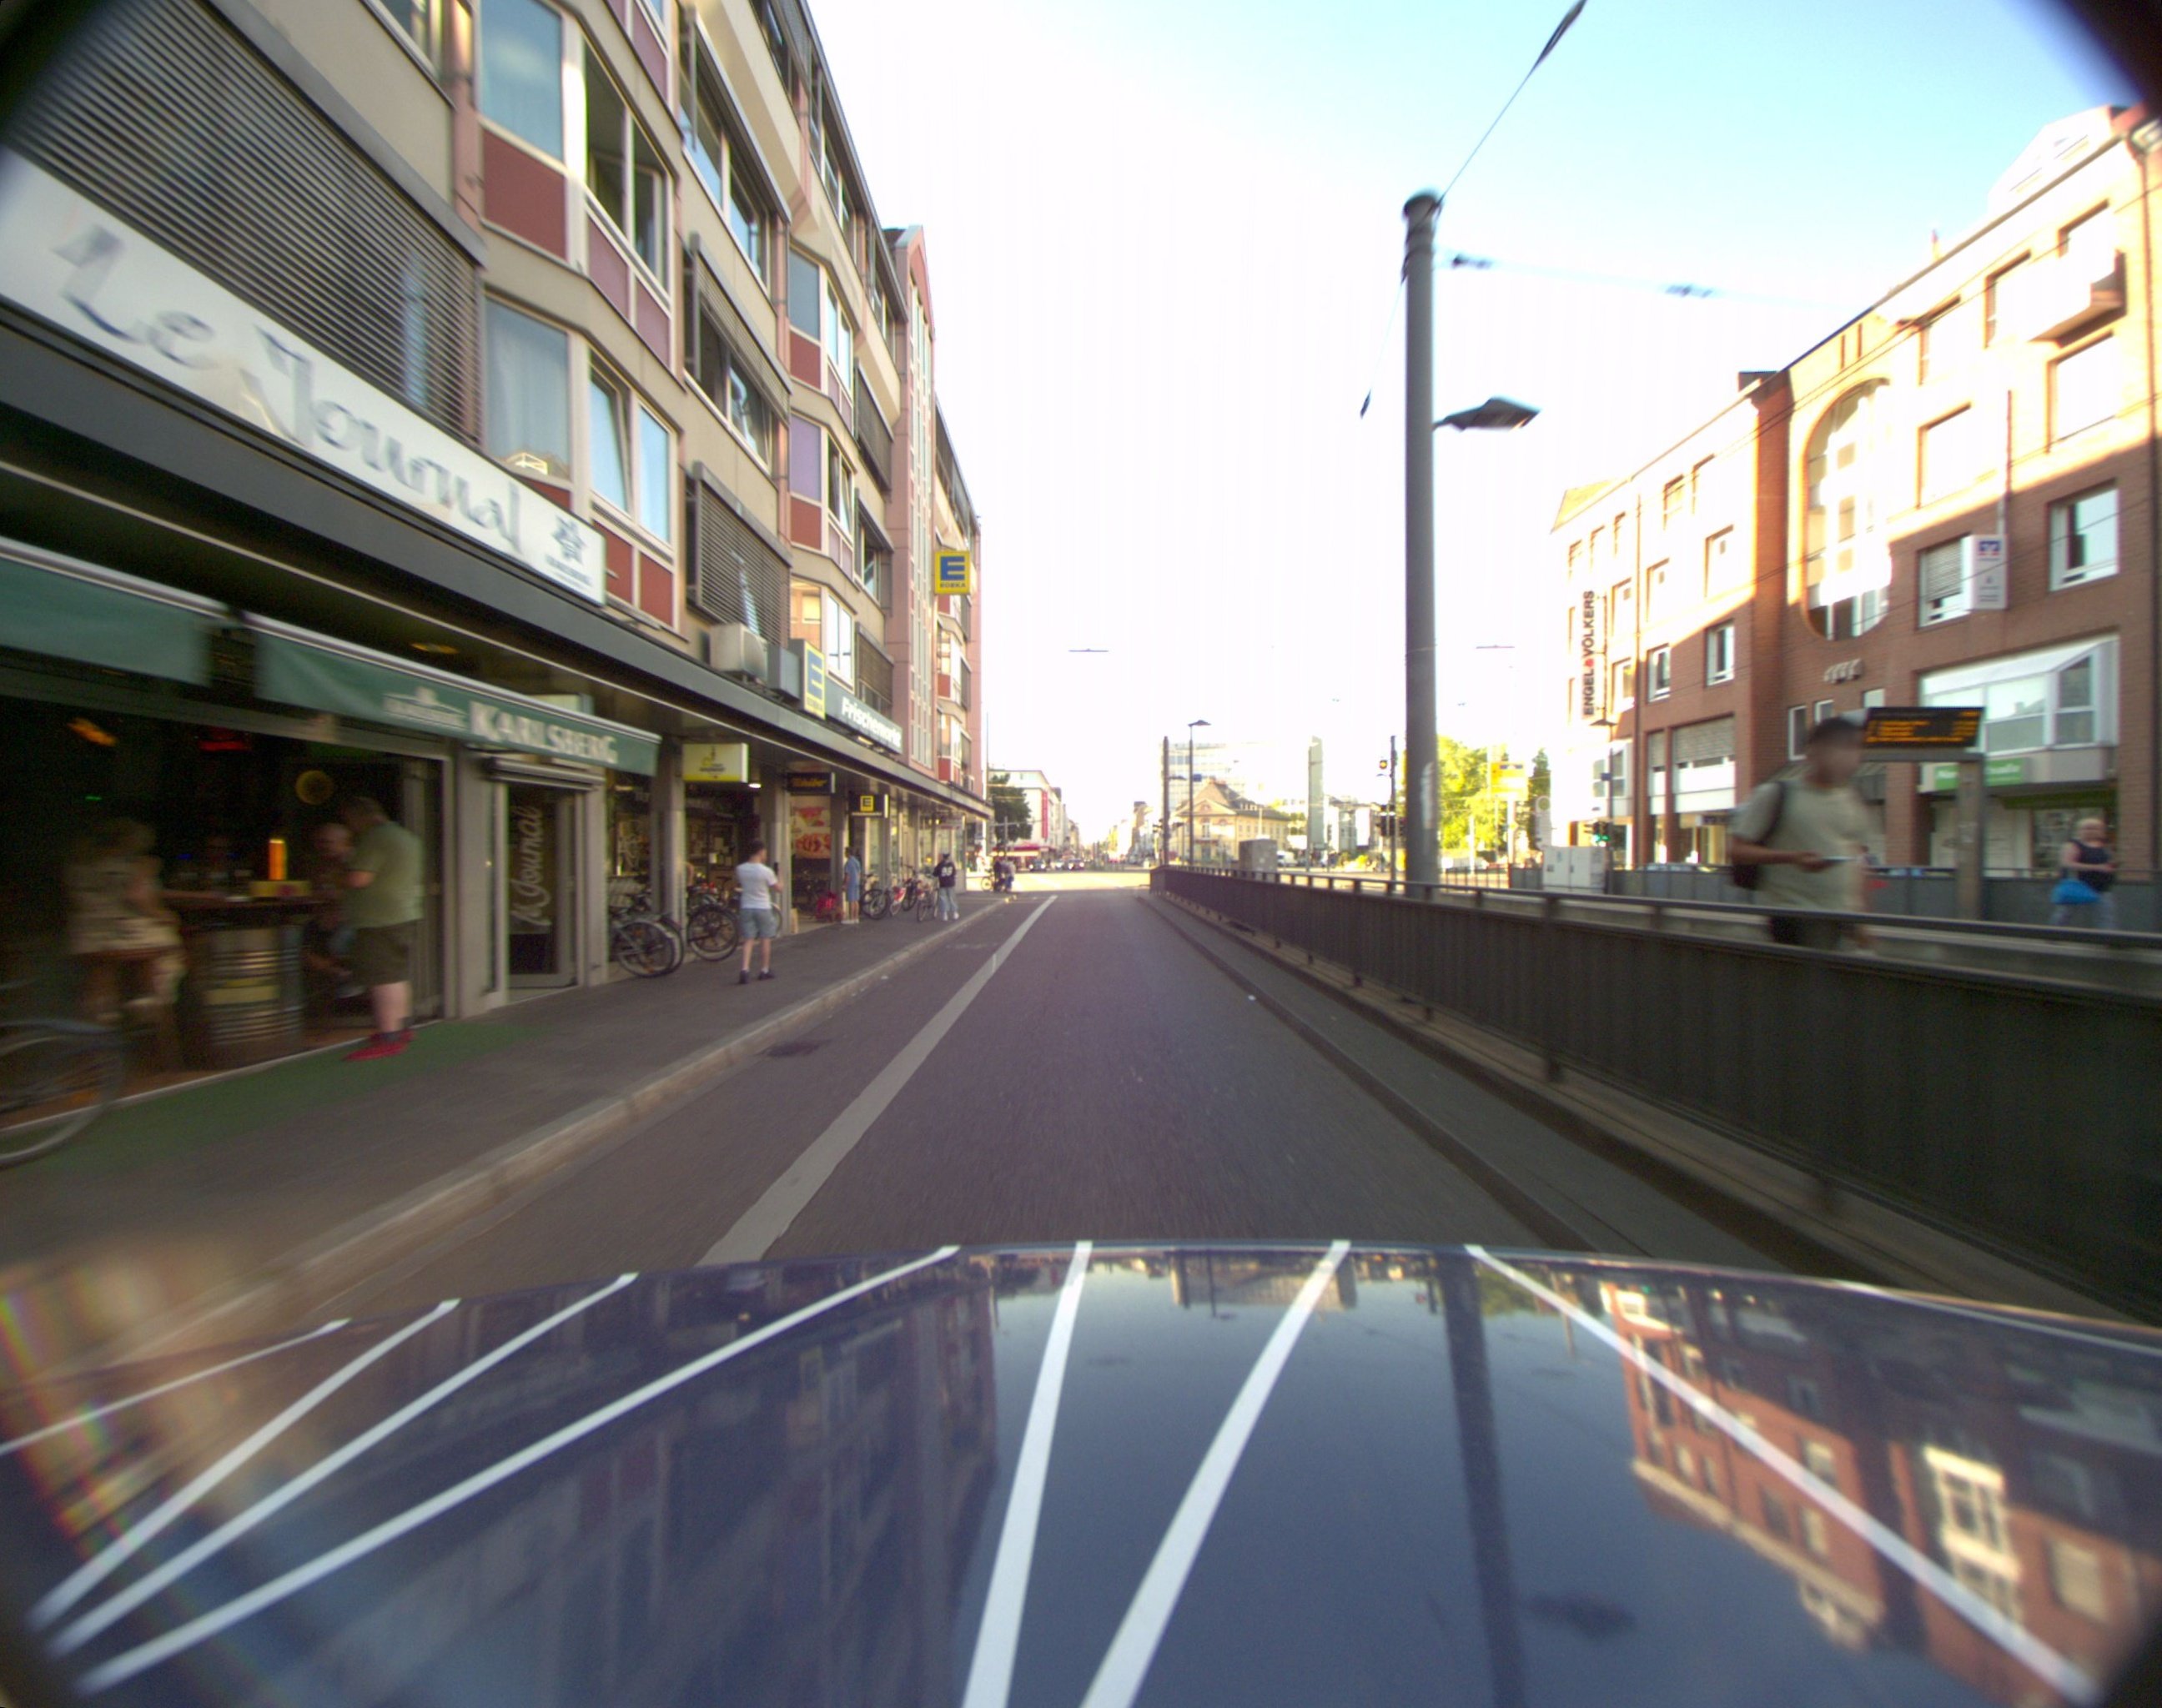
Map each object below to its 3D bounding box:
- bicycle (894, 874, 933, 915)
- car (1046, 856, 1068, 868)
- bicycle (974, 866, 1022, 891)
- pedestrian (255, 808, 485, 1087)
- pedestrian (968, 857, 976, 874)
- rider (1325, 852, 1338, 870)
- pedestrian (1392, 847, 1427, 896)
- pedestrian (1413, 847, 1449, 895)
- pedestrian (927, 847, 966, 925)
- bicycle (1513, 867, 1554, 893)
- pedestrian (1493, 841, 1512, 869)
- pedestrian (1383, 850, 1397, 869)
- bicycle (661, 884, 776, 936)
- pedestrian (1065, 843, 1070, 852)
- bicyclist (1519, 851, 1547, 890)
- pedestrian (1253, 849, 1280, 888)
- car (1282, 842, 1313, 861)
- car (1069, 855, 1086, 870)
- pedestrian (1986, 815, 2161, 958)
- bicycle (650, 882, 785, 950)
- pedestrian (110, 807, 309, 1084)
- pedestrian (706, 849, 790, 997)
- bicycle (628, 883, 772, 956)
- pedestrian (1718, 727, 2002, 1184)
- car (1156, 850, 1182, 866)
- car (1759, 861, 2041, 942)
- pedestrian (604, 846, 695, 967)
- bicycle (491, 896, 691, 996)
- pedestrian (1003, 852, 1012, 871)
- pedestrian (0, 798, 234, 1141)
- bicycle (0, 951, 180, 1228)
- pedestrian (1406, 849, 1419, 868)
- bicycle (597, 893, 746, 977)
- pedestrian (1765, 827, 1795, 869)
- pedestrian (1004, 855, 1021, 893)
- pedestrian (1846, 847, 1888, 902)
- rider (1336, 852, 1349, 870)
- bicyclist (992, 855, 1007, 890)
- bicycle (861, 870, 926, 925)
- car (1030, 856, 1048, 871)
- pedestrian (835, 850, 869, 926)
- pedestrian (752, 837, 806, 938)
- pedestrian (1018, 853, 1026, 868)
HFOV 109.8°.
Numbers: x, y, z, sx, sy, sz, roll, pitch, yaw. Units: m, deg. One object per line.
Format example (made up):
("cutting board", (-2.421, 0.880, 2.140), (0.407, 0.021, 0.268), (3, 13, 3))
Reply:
("bicycle", (-4.586, 1.092, 20.871), (0.678, 0.971, 1.842), (4, 1, -3))
("car", (-3.367, 1.120, 106.771), (1.974, 1.664, 4.869), (-2, 0, -16))
("bicycle", (-3.927, 1.163, 36.091), (2.176, 1.117, 0.768), (-1, 1, -3))
("pedestrian", (-5.058, 0.630, 5.471), (0.917, 1.856, 0.779), (1, 1, -2))
("pedestrian", (-9.619, 0.984, 67.015), (0.597, 1.434, 0.613), (-3, 1, -11))
("rider", (27.767, 0.766, 84.139), (1.011, 2.002, 1.022), (-2, 1, 35))
("pedestrian", (12.288, 0.656, 28.445), (0.861, 1.757, 0.810), (-3, 1, -9))
("pedestrian", (13.167, 0.620, 28.576), (0.861, 1.757, 0.810), (-3, 1, -9))
("pedestrian", (-3.171, 0.735, 17.991), (0.806, 1.805, 0.733), (-1, 1, -3))
("bicycle", (20.940, 1.184, 35.211), (0.574, 1.114, 2.054), (-3, 1, -2))
("pedestrian", (31.099, 0.069, 56.085), (0.811, 2.002, 0.860), (-3, 1, -13))
("pedestrian", (33.477, 0.581, 82.379), (1.073, 2.002, 0.989), (-3, 1, 5))
("bicycle", (-7.018, 1.070, 14.759), (1.929, 0.933, 0.576), (1, 1, -2))
("pedestrian", (-2.257, -1.040, 126.098), (0.597, 1.434, 0.613), (0, 1, -11))
("bicyclist", (20.927, 0.772, 35.211), (0.738, 1.757, 0.811), (-3, 1, -2))
("pedestrian", (8.894, 0.707, 36.361), (0.812, 1.793, 0.859), (-3, 1, -28))
("car", (35.532, -0.494, 124.572), (2.535, 3.031, 6.387), (3, 2, 37))
("car", (-0.419, 1.043, 92.279), (1.971, 1.664, 4.875), (-2, 0, 0))
("pedestrian", (12.126, 0.370, 9.302), (0.913, 1.652, 0.967), (0, 1, 0))
("bicycle", (-5.988, 1.016, 12.578), (1.929, 1.054, 0.576), (1, 1, -2))
("pedestrian", (-6.324, 0.613, 5.573), (0.781, 1.856, 0.685), (1, 1, -31))
("pedestrian", (-3.900, 0.773, 8.947), (0.634, 1.664, 0.771), (1, 1, 1))
("bicycle", (-5.947, 1.018, 11.919), (1.929, 1.054, 0.576), (1, 1, -2))
("pedestrian", (3.290, 0.397, 3.268), (0.584, 1.781, 0.606), (-1, 1, -1))
("car", (13.832, 0.674, 119.681), (2.544, 2.440, 5.417), (-2, 0, -11))
("car", (18.320, 0.979, 17.351), (1.897, 1.590, 4.197), (0, 0, -1))
("pedestrian", (-6.155, 0.716, 10.897), (0.779, 1.654, 0.917), (1, 1, -2))
("bicycle", (-5.631, 1.044, 8.786), (1.929, 1.054, 0.576), (1, 1, 0))
("pedestrian", (-8.033, 0.786, 82.824), (0.747, 2.002, 1.070), (-3, 1, -12))
("pedestrian", (-5.760, 0.624, 4.481), (0.780, 1.856, 0.686), (1, 1, -19))
("bicycle", (-4.905, 1.045, 2.936), (0.659, 1.061, 1.794), (4, 1, 0))
("pedestrian", (35.848, 0.516, 82.179), (1.011, 2.002, 0.991), (-2, 1, 35))
("bicycle", (-5.446, 1.063, 10.145), (1.734, 0.968, 0.506), (2, 1, 5))
("pedestrian", (27.787, -0.230, 30.216), (0.613, 1.652, 0.637), (0, 1, 0))
("pedestrian", (-3.063, 0.878, 34.023), (0.637, 1.652, 0.768), (3, 0, -9))
("pedestrian", (24.154, 0.614, 23.356), (0.613, 1.652, 0.637), (0, 1, 0))
("rider", (28.658, 0.765, 83.186), (1.011, 2.002, 0.991), (-2, 1, 35))
("bicyclist", (-3.870, 0.866, 36.083), (0.637, 1.668, 0.768), (-1, 1, -3))
("bicycle", (-4.412, 0.996, 18.018), (0.800, 1.169, 1.634), (3, 1, 12))
("car", (-4.861, 1.106, 89.199), (1.972, 1.664, 4.874), (-2, 0, -2))
("pedestrian", (-4.894, 0.720, 16.228), (0.406, 1.586, 0.462), (3, 1, 28))
("pedestrian", (-5.640, 0.603, 14.174), (0.734, 1.805, 0.805), (-1, 1, -36))
("pedestrian", (-6.998, 0.767, 89.658), (0.860, 1.700, 1.051), (-1, 1, -4))
